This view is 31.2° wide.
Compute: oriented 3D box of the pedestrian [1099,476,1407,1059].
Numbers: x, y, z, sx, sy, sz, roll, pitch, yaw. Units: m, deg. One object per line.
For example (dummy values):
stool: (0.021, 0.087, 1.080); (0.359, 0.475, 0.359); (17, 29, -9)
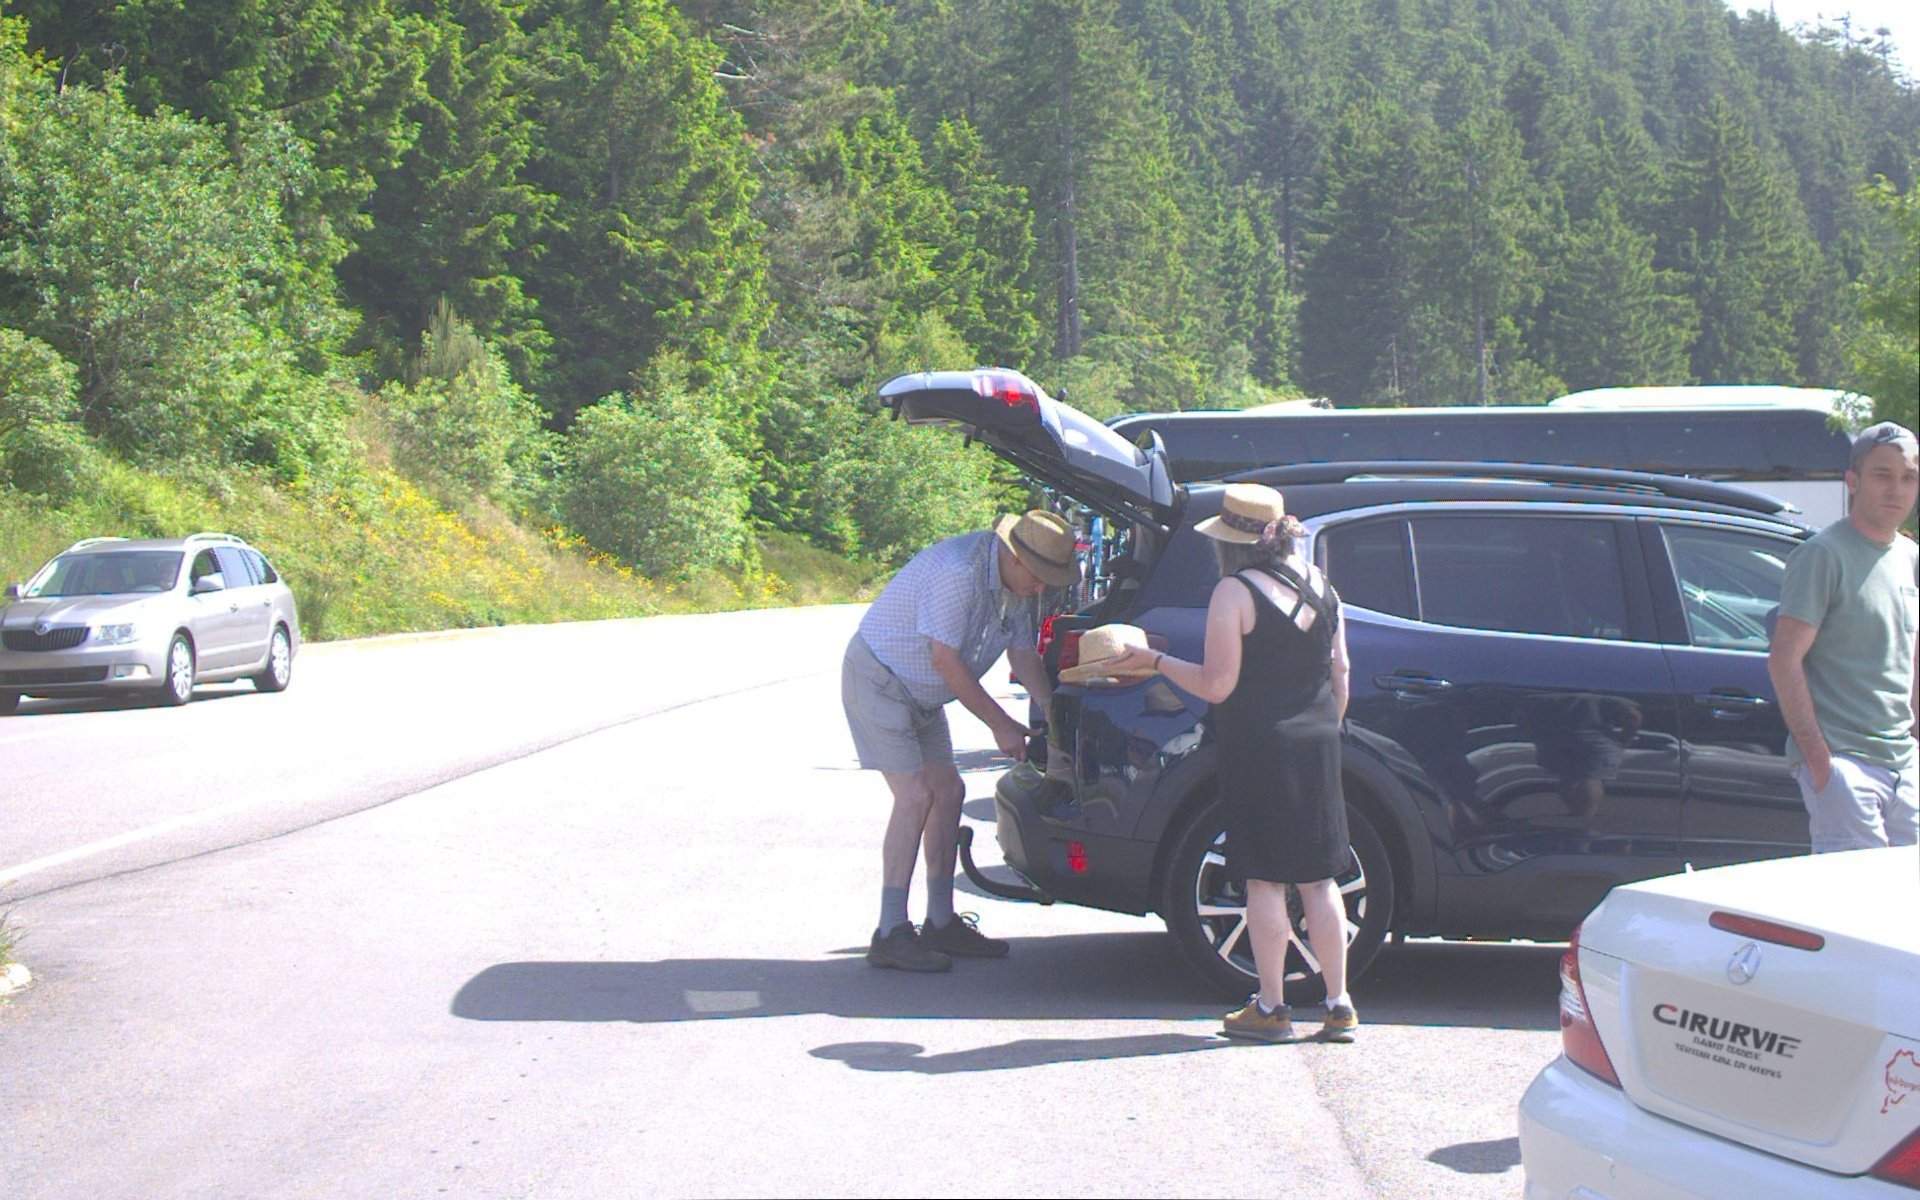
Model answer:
pedestrian: (0.831, 0.462, 9.831); (0.714, 1.607, 0.537); (1, 0, -15)

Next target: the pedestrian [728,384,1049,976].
pedestrian: (-0.235, 0.226, 11.360); (0.736, 1.864, 0.756); (3, 4, 35)

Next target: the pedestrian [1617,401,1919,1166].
pedestrian: (2.179, 0.428, 8.558); (0.746, 1.794, 0.736); (1, 0, -27)

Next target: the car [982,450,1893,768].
car: (2.711, 0.038, 19.906); (4.950, 1.690, 1.945); (-1, 1, 7)

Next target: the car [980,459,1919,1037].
car: (2.281, 0.466, 11.259); (4.344, 1.620, 1.870); (2, 1, 0)

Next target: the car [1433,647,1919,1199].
car: (3.156, 0.809, 5.553); (4.396, 1.291, 1.756); (1, 2, -18)

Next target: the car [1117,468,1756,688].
car: (3.882, -0.190, 28.512); (5.035, 1.645, 2.048); (-1, 1, 5)

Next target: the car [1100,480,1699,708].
car: (3.226, -0.057, 25.629); (4.244, 1.548, 1.838); (-1, 1, 5)

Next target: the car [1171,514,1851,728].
car: (3.556, 0.116, 22.723); (4.244, 1.264, 1.838); (-1, 1, 5)

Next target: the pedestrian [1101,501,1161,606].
pedestrian: (2.605, -0.716, 52.410); (0.771, 1.579, 0.772); (-1, 1, 12)

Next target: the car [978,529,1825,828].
car: (2.169, 0.369, 17.672); (4.081, 1.372, 1.702); (1, 1, -1)

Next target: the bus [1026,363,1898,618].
bus: (7.785, -1.638, 53.567); (13.102, 3.520, 3.042); (-1, 1, 15)

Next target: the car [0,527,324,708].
car: (-7.301, 0.095, 30.578); (1.879, 1.469, 4.713); (0, 1, 7)

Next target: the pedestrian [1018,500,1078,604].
pedestrian: (1.359, -0.741, 52.930); (0.771, 1.579, 0.772); (-1, 1, 12)
